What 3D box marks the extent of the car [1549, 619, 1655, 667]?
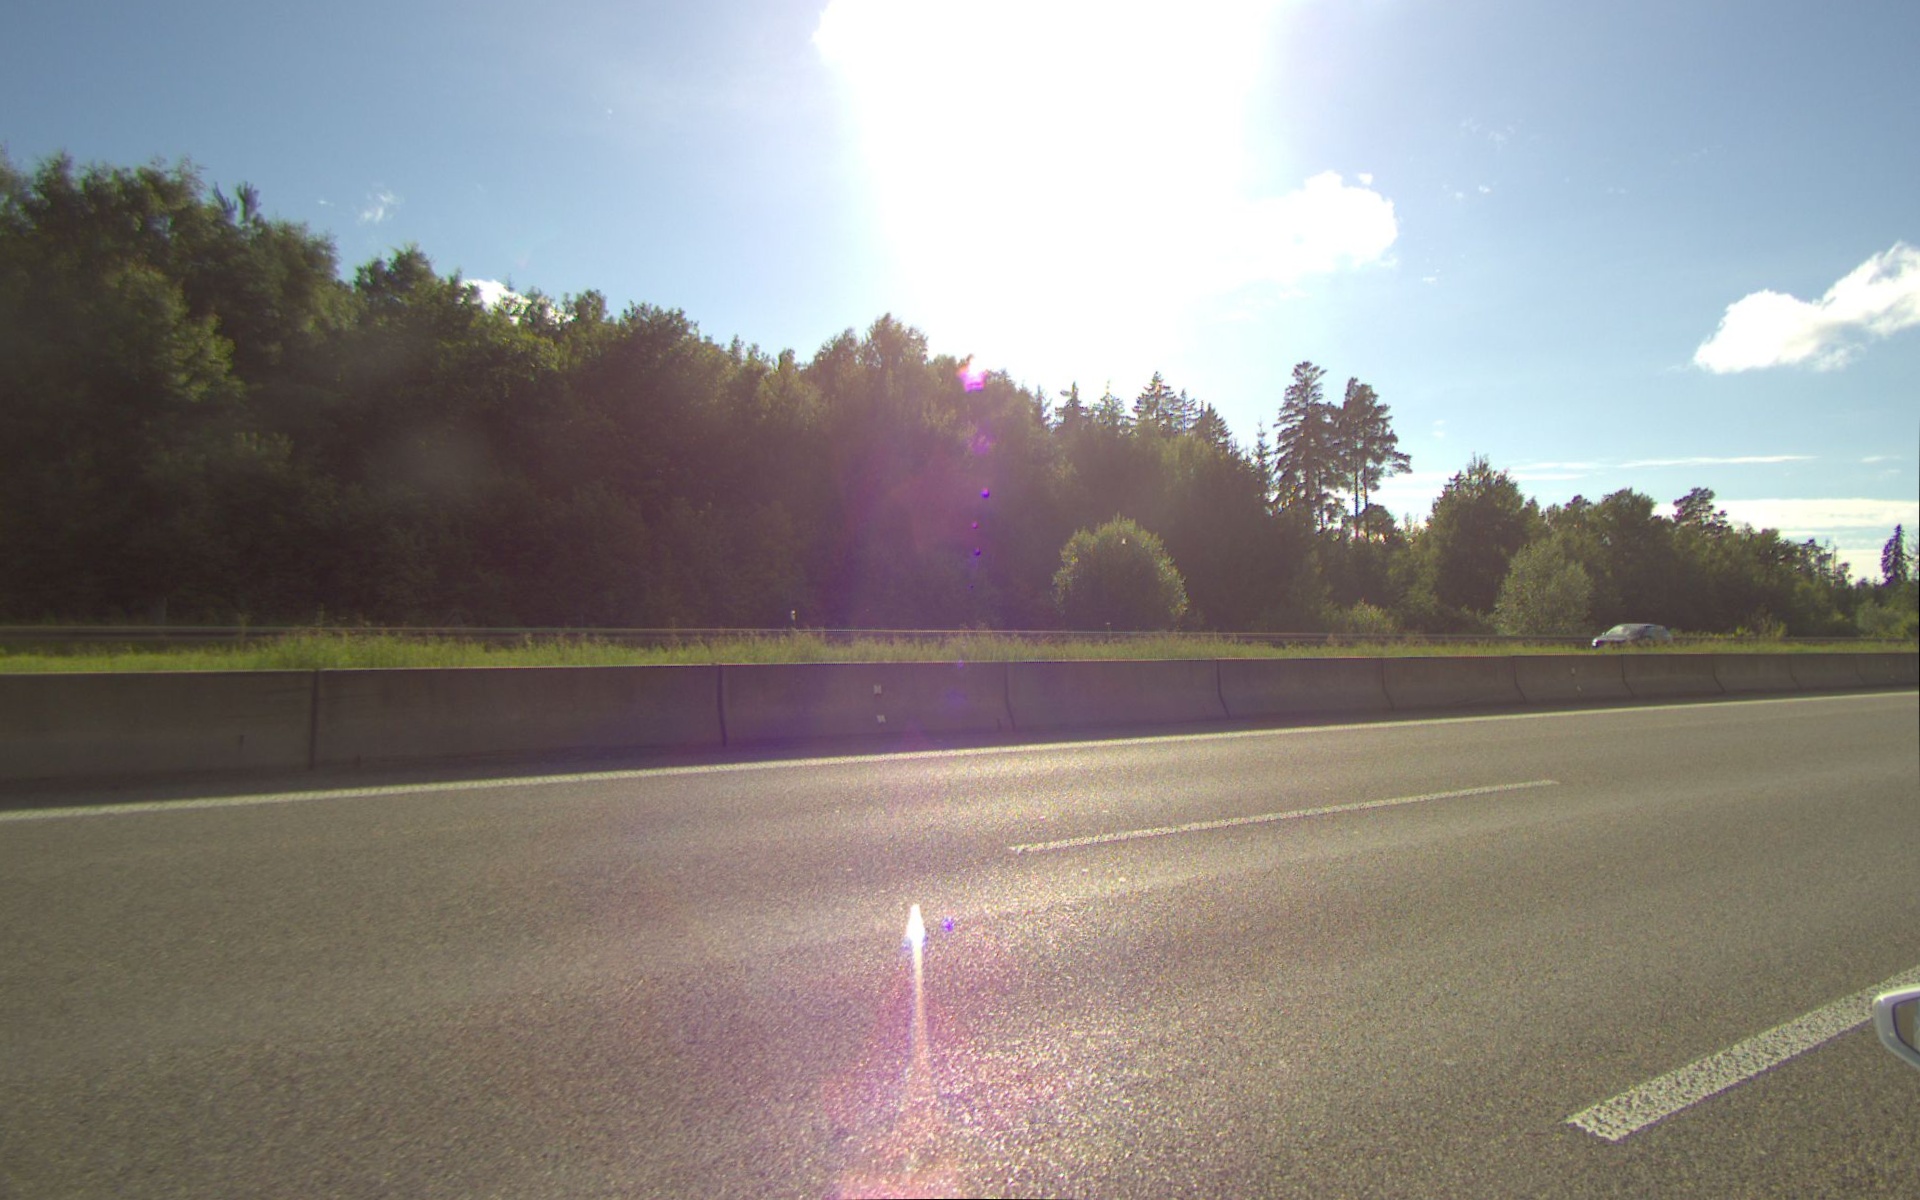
[{"bbox_3d":[25.750,1.701,40.280,4.001,1.770,1.984,1,-1,-30],"label":"car"}]
